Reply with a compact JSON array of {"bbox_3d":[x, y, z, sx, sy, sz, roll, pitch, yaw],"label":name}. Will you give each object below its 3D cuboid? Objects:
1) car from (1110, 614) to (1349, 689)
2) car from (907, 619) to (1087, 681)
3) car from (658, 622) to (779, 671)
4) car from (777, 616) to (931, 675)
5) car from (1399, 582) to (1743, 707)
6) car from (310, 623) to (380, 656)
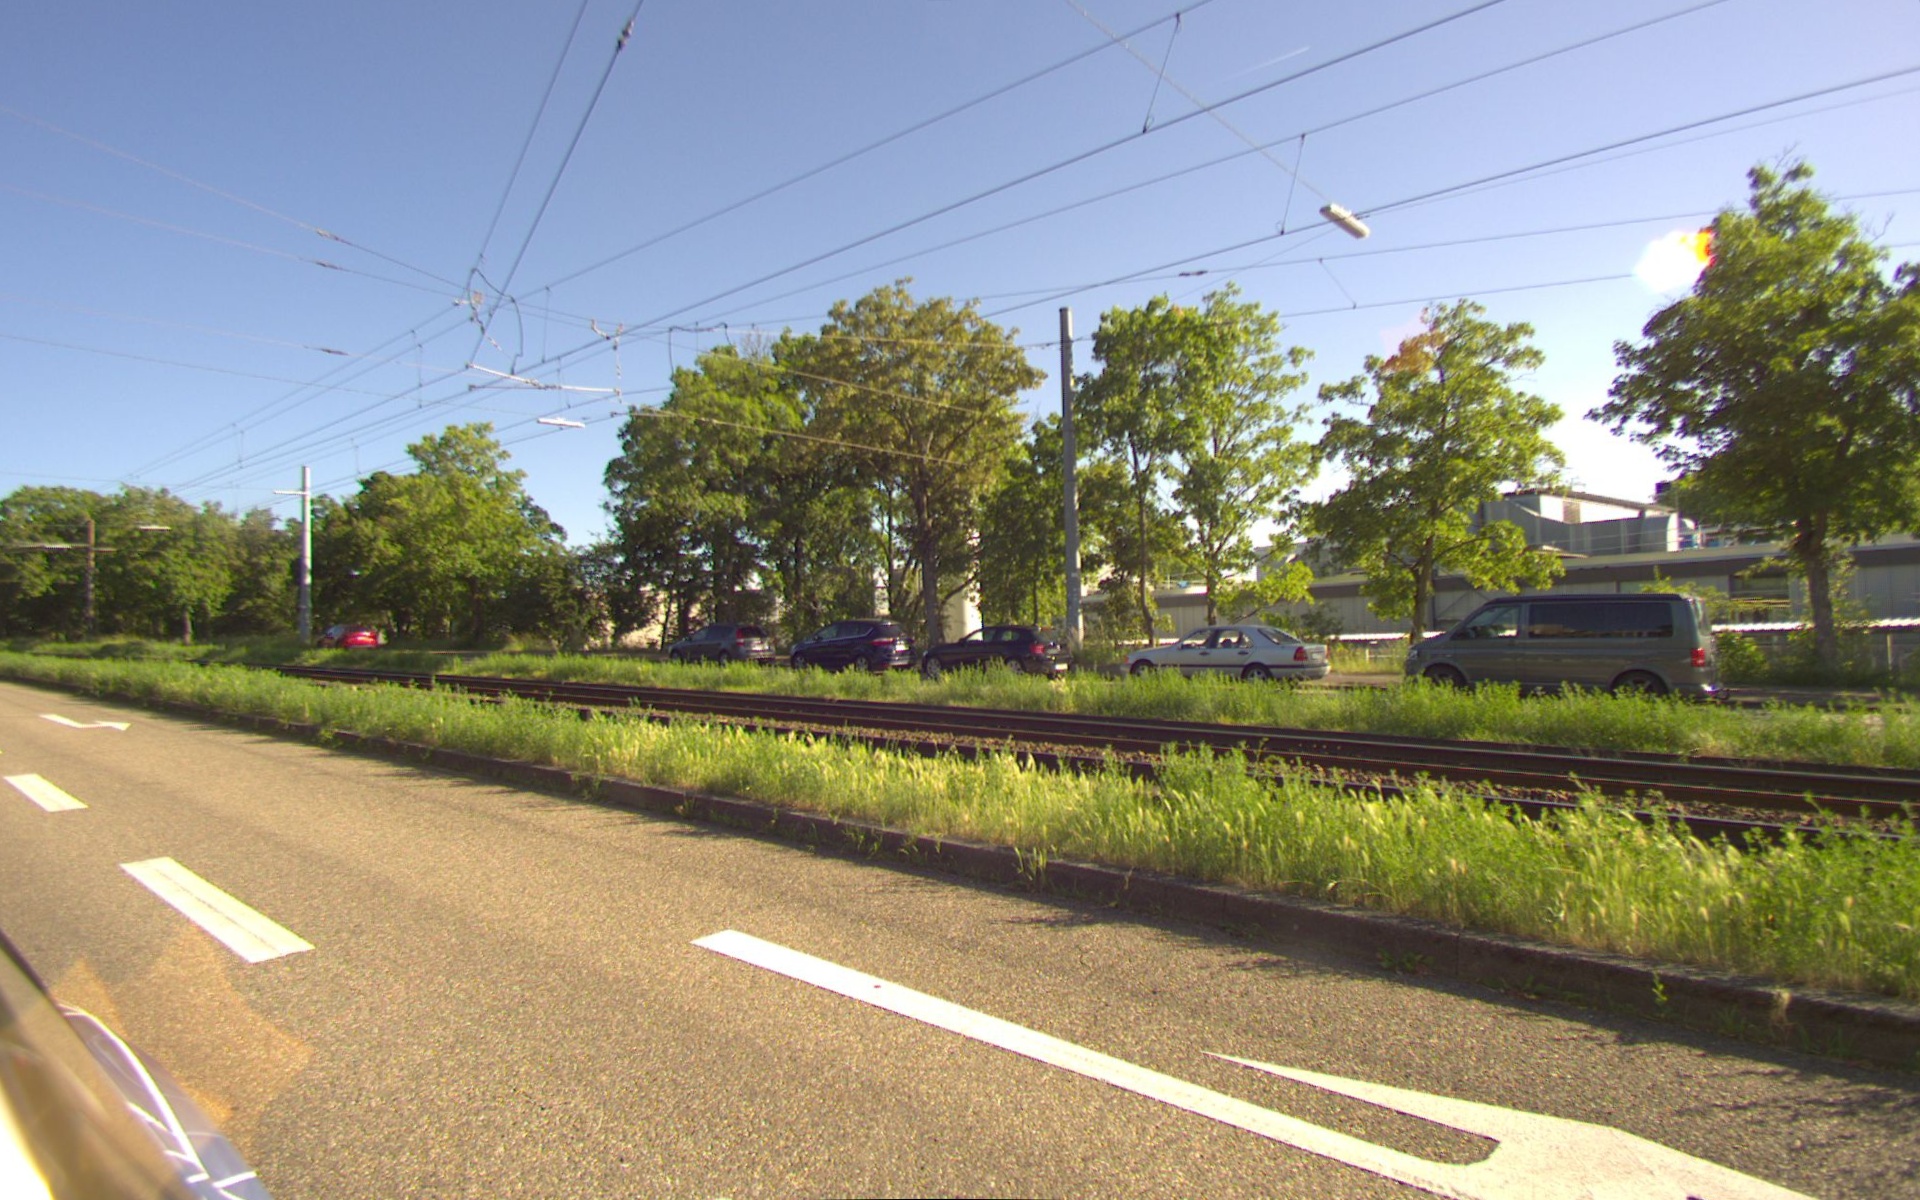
[{"bbox_3d":[5.793,1.094,22.130,4.692,1.448,1.908,-2,-2,41],"label":"car"},{"bbox_3d":[0.892,1.278,26.276,4.412,1.448,1.973,-2,-2,41],"label":"car"},{"bbox_3d":[-8.213,1.546,34.251,4.323,1.505,1.718,-2,0,39],"label":"car"},{"bbox_3d":[-3.181,1.322,29.758,4.431,1.586,1.974,-2,-2,40],"label":"car"},{"bbox_3d":[10.595,0.743,17.794,4.791,1.905,2.173,-2,-2,43],"label":"car"},{"bbox_3d":[-34.042,2.189,56.002,4.463,1.715,1.984,-2,-1,40],"label":"car"}]
